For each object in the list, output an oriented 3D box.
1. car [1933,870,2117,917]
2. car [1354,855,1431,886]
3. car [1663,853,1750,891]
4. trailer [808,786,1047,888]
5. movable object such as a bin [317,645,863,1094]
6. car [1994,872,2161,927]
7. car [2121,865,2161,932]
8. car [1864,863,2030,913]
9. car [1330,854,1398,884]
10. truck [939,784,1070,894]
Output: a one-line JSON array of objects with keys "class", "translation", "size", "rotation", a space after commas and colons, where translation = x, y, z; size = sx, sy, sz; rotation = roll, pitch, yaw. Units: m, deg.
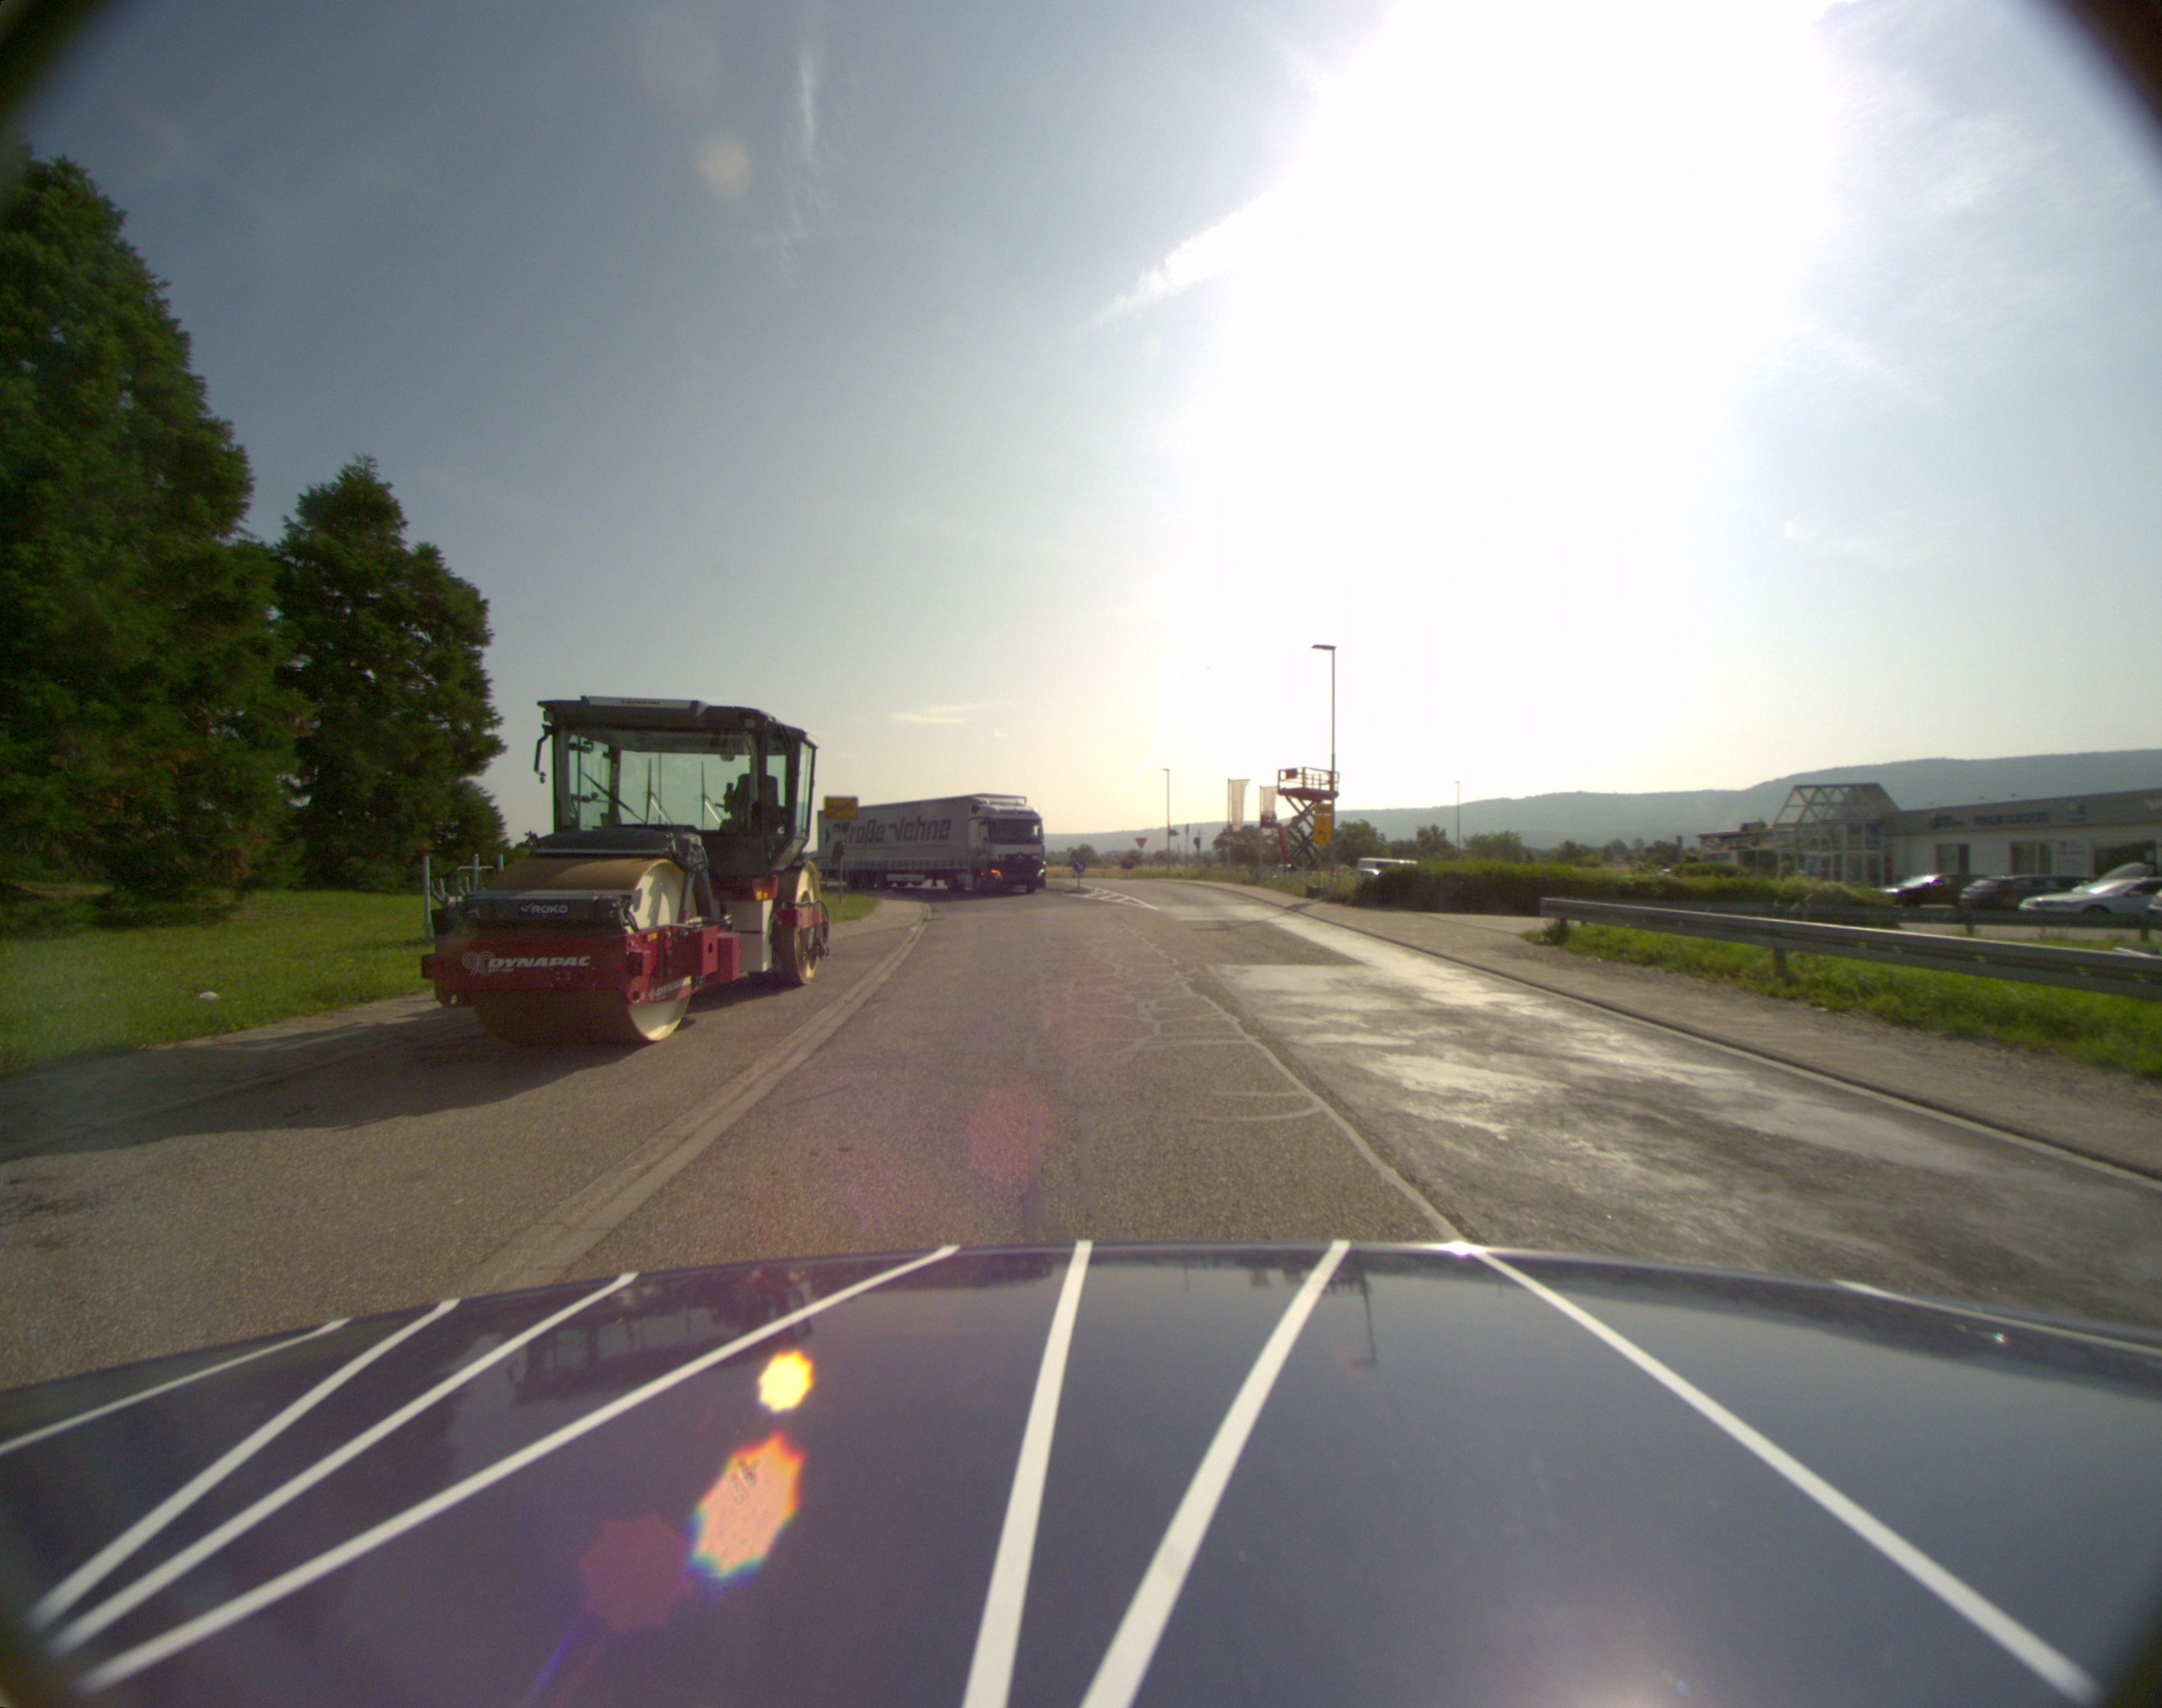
[{"class": "car", "translation": [32.938, 1.343, 26.646], "size": [3.658, 1.455, 1.766], "rotation": [1, 0, 16]}, {"class": "car", "translation": [22.333, 1.149, 54.686], "size": [2.004, 2.002, 4.805], "rotation": [1, 0, -32]}, {"class": "car", "translation": [35.208, 0.974, 42.931], "size": [1.997, 2.002, 4.160], "rotation": [1, 0, 10]}, {"class": "trailer", "translation": [-8.067, -0.629, 37.291], "size": [14.193, 4.183, 3.507], "rotation": [-1, 1, 42]}, {"class": "movable object such as a bin", "translation": [-4.134, 0.119, 8.046], "size": [2.435, 2.994, 5.751], "rotation": [1, 0, -5]}, {"class": "car", "translation": [31.818, 1.403, 23.556], "size": [4.149, 1.527, 1.885], "rotation": [1, 0, 14]}, {"class": "car", "translation": [31.818, 1.195, 20.691], "size": [3.766, 1.785, 1.935], "rotation": [-2, 1, 14]}, {"class": "car", "translation": [35.541, 1.341, 31.335], "size": [4.087, 1.861, 1.820], "rotation": [1, 0, 25]}, {"class": "car", "translation": [19.386, 0.988, 52.273], "size": [1.820, 1.926, 4.087], "rotation": [1, 0, -32]}, {"class": "truck", "translation": [-3.407, -0.615, 32.292], "size": [3.402, 4.183, 6.085], "rotation": [-3, 1, -27]}]
